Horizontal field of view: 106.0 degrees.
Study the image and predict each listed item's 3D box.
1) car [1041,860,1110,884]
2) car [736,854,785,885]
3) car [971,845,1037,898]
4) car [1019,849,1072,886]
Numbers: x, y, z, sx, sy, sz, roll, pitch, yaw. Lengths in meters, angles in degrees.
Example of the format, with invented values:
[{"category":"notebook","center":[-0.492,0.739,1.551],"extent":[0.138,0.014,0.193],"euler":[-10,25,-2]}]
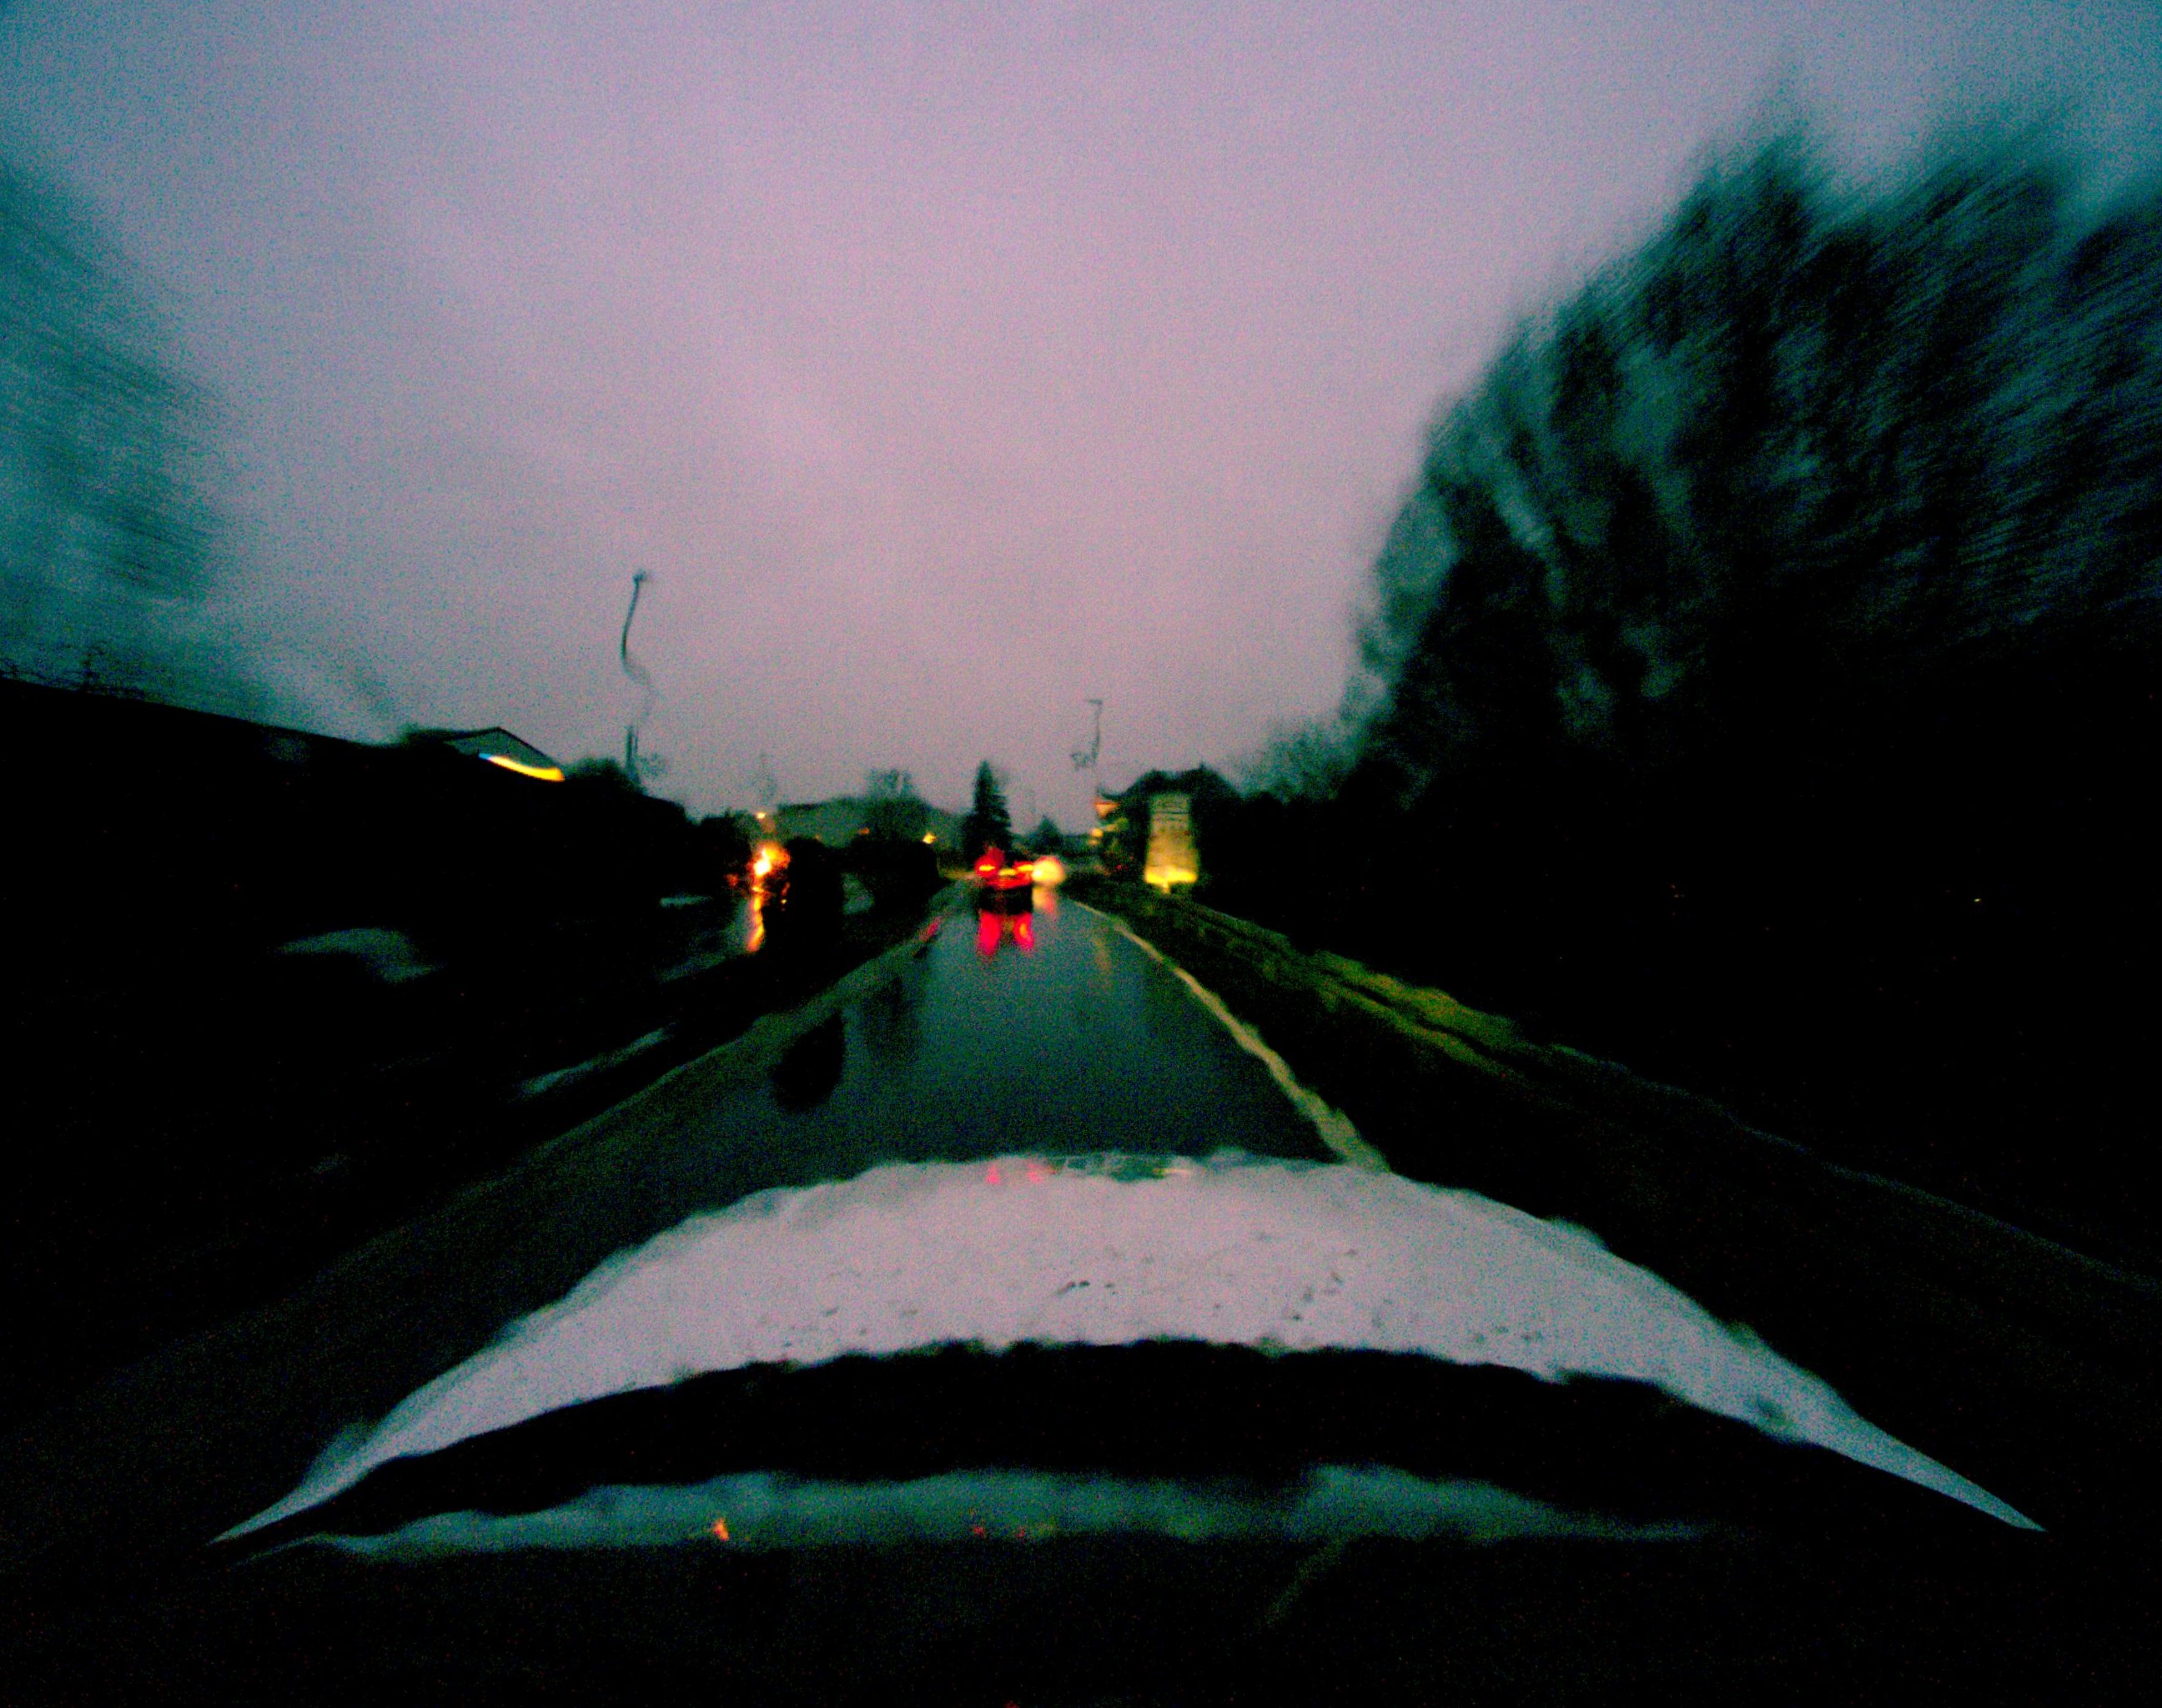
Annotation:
[{"category":"car","center":[-0.377,1.298,57.701],"extent":[4.513,1.615,1.900],"euler":[-1,-2,28]},{"category":"car","center":[-15.985,0.718,40.533],"extent":[1.618,1.469,3.647],"euler":[0,0,-33]},{"category":"car","center":[-2.756,0.577,28.431],"extent":[1.945,1.718,3.986],"euler":[1,0,-10]},{"category":"car","center":[-1.702,0.618,40.672],"extent":[2.154,1.689,4.577],"euler":[0,1,4]}]
